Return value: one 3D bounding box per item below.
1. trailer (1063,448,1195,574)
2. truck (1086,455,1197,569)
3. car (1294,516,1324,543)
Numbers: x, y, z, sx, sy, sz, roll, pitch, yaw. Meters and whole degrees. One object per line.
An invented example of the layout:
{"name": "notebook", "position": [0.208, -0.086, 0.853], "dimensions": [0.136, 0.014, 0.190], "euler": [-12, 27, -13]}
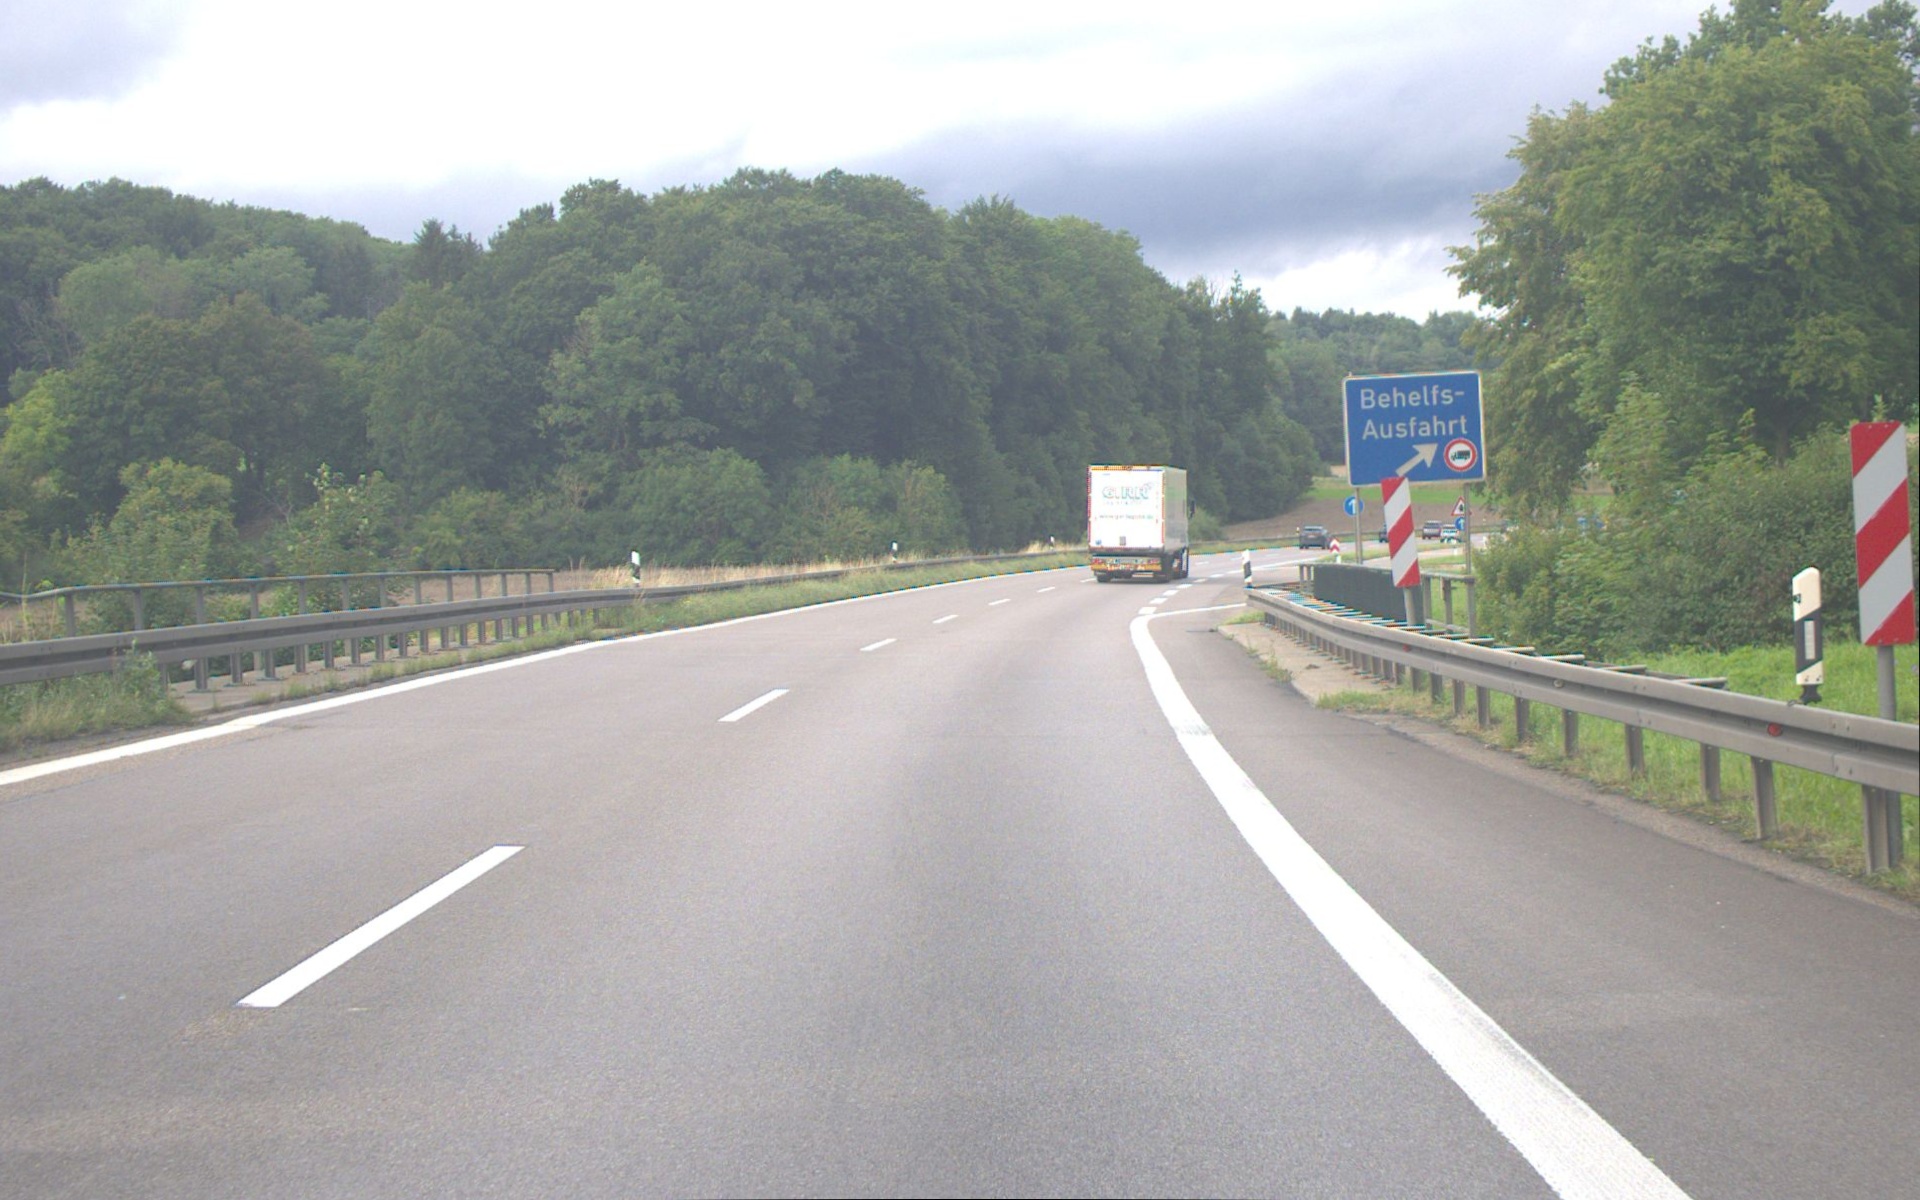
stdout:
{"name": "trailer", "position": [6.102, -3.107, 121.309], "dimensions": [3.806, 4.160, 14.805], "euler": [0, 1, 6]}
{"name": "truck", "position": [6.873, -3.299, 128.897], "dimensions": [3.788, 4.117, 8.263], "euler": [0, 1, 6]}
{"name": "car", "position": [24.463, -4.930, 240.944], "dimensions": [1.903, 1.789, 3.999], "euler": [0, 0, 8]}
